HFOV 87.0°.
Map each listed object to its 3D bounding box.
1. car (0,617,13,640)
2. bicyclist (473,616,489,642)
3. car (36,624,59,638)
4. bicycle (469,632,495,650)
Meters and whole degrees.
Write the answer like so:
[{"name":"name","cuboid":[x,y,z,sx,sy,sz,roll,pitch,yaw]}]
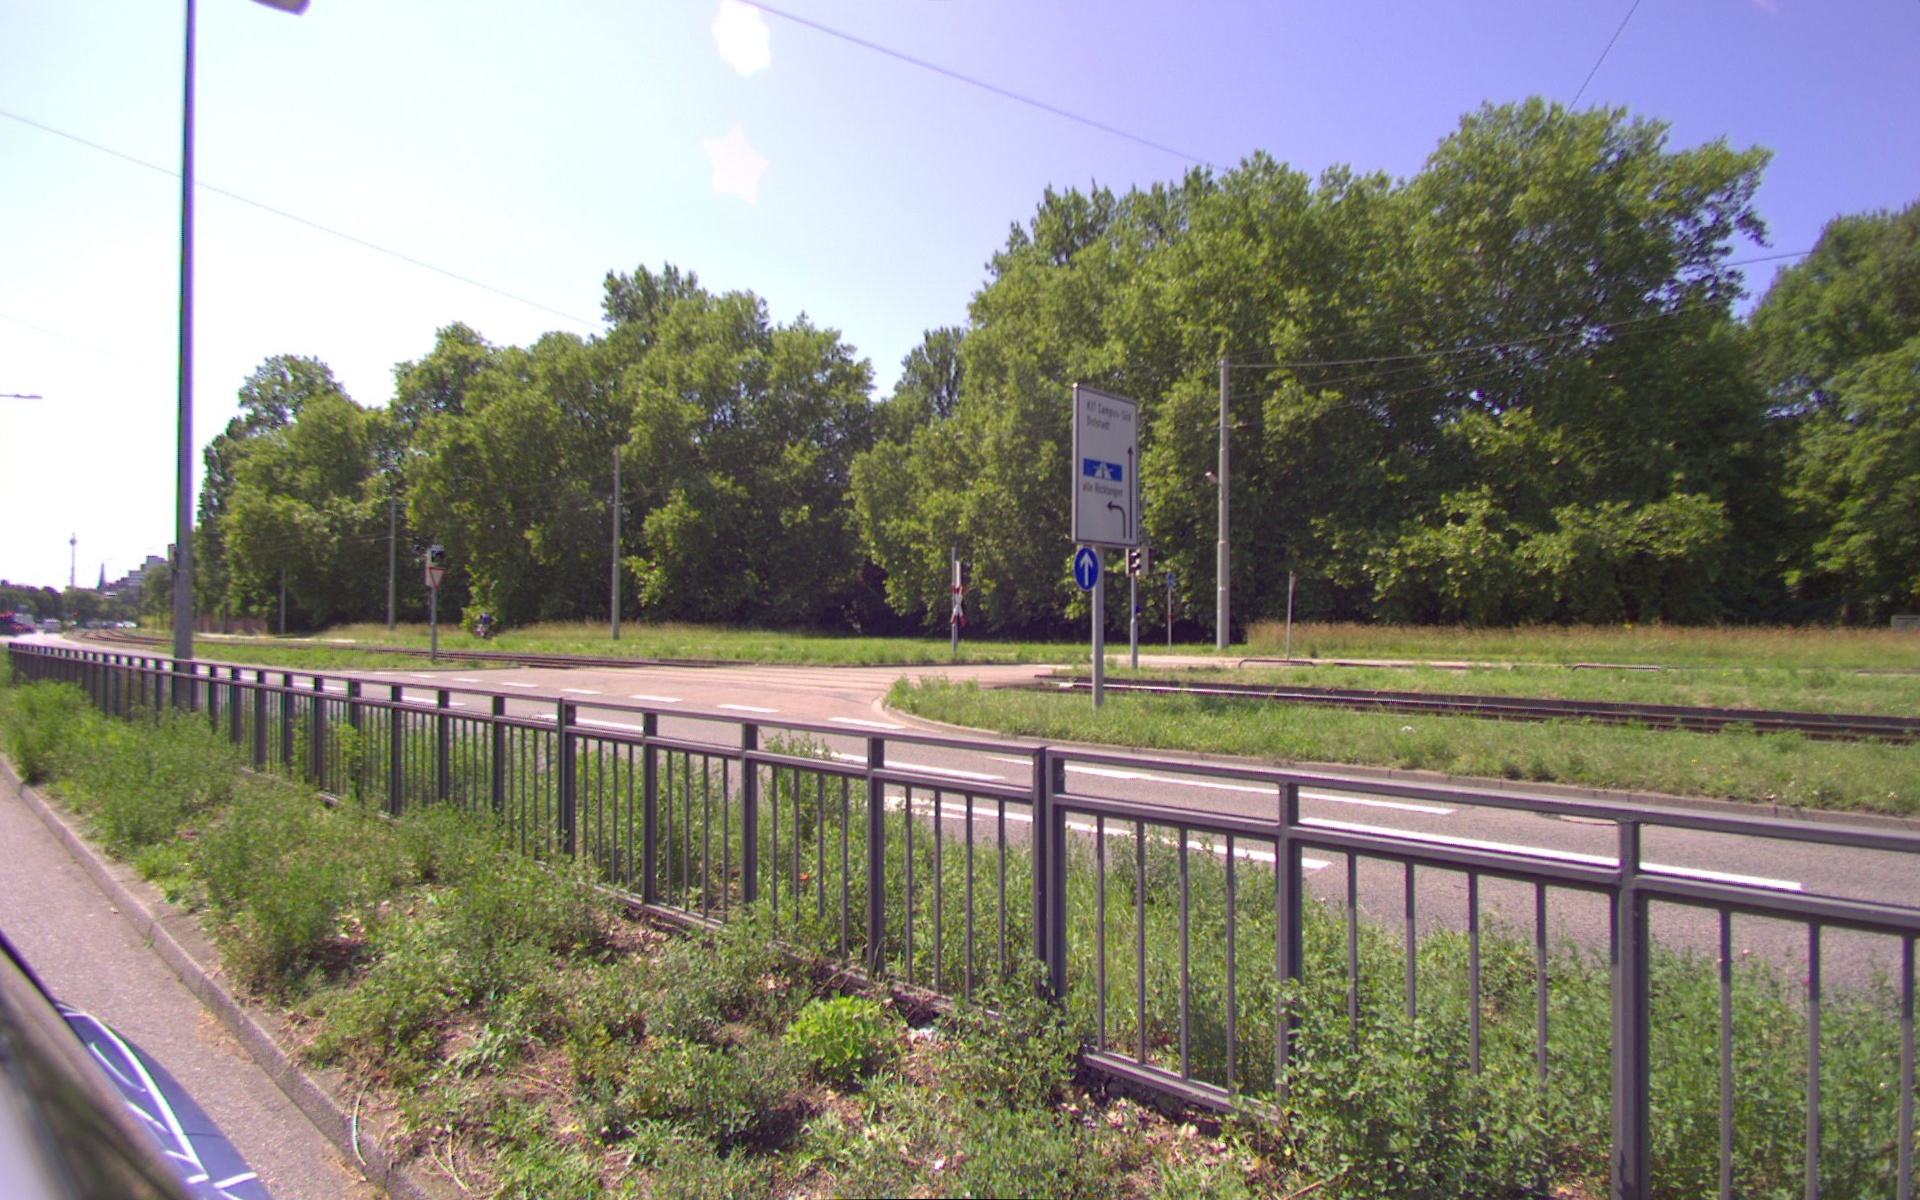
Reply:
[{"name":"car","cuboid":[-102.257,3.068,107.456,5.372,2.384,1.972,-2,-3,43]},{"name":"bicyclist","cuboid":[-24.808,1.510,52.423,0.679,1.346,0.503,-1,-1,36]},{"name":"car","cuboid":[-131.960,4.519,146.395,5.030,2.029,1.972,-2,-4,43]},{"name":"bicycle","cuboid":[-24.718,2.109,52.331,1.563,0.908,0.503,-1,-1,36]}]
